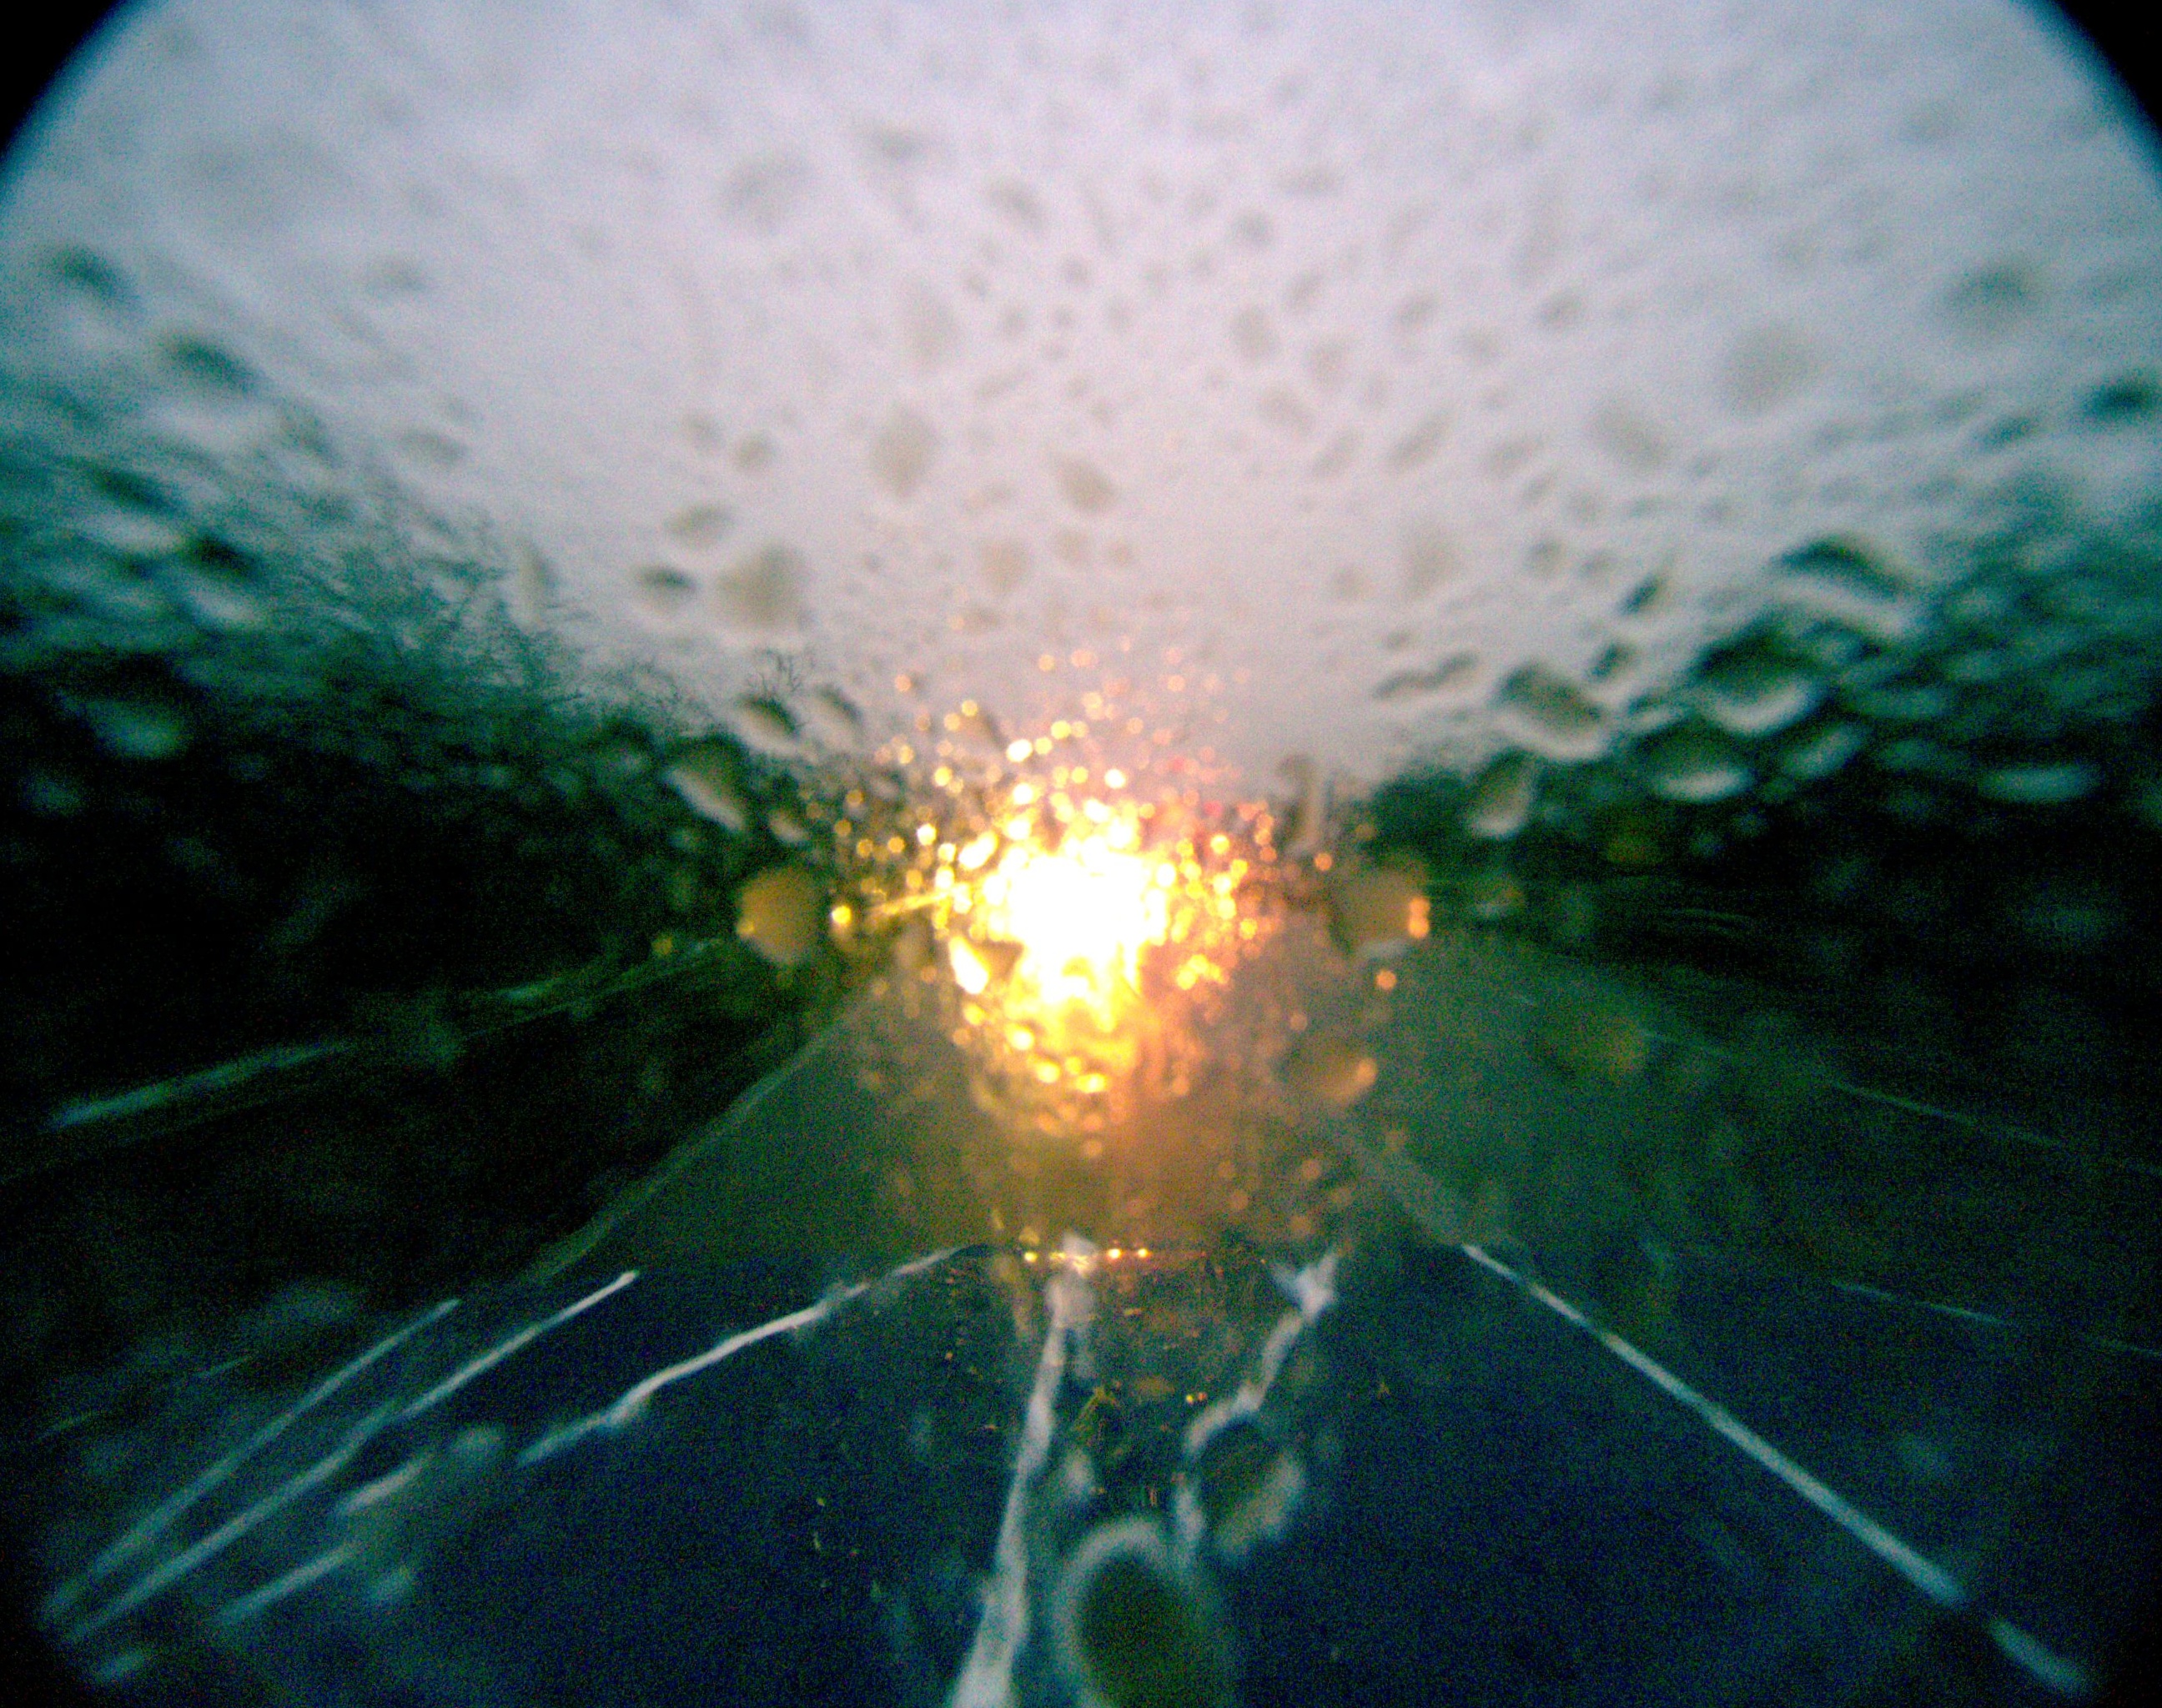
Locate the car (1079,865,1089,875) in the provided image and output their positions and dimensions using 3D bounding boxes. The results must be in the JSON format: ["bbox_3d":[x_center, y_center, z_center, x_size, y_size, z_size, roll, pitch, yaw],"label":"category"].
[{"bbox_3d":[0.541,3.017,144.648,1.691,1.642,3.999,-2,0,-4],"label":"car"}]

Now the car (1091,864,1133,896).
[{"bbox_3d":[1.485,1.259,37.841,1.655,1.502,3.873,-1,-1,-4],"label":"car"}]

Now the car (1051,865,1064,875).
[{"bbox_3d":[-2.907,1.990,94.879,1.482,1.198,3.350,-1,-1,1],"label":"car"}]

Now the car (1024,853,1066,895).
[{"bbox_3d":[-1.810,1.009,38.806,1.999,2.001,3.963,2,-1,-2],"label":"car"}]

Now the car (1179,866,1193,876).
[{"bbox_3d":[17.936,2.892,129.801,1.687,1.625,4.203,2,0,-1],"label":"car"}]

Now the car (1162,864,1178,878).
[{"bbox_3d":[14.117,2.693,120.212,1.999,2.002,3.999,0,1,-1],"label":"car"}]
